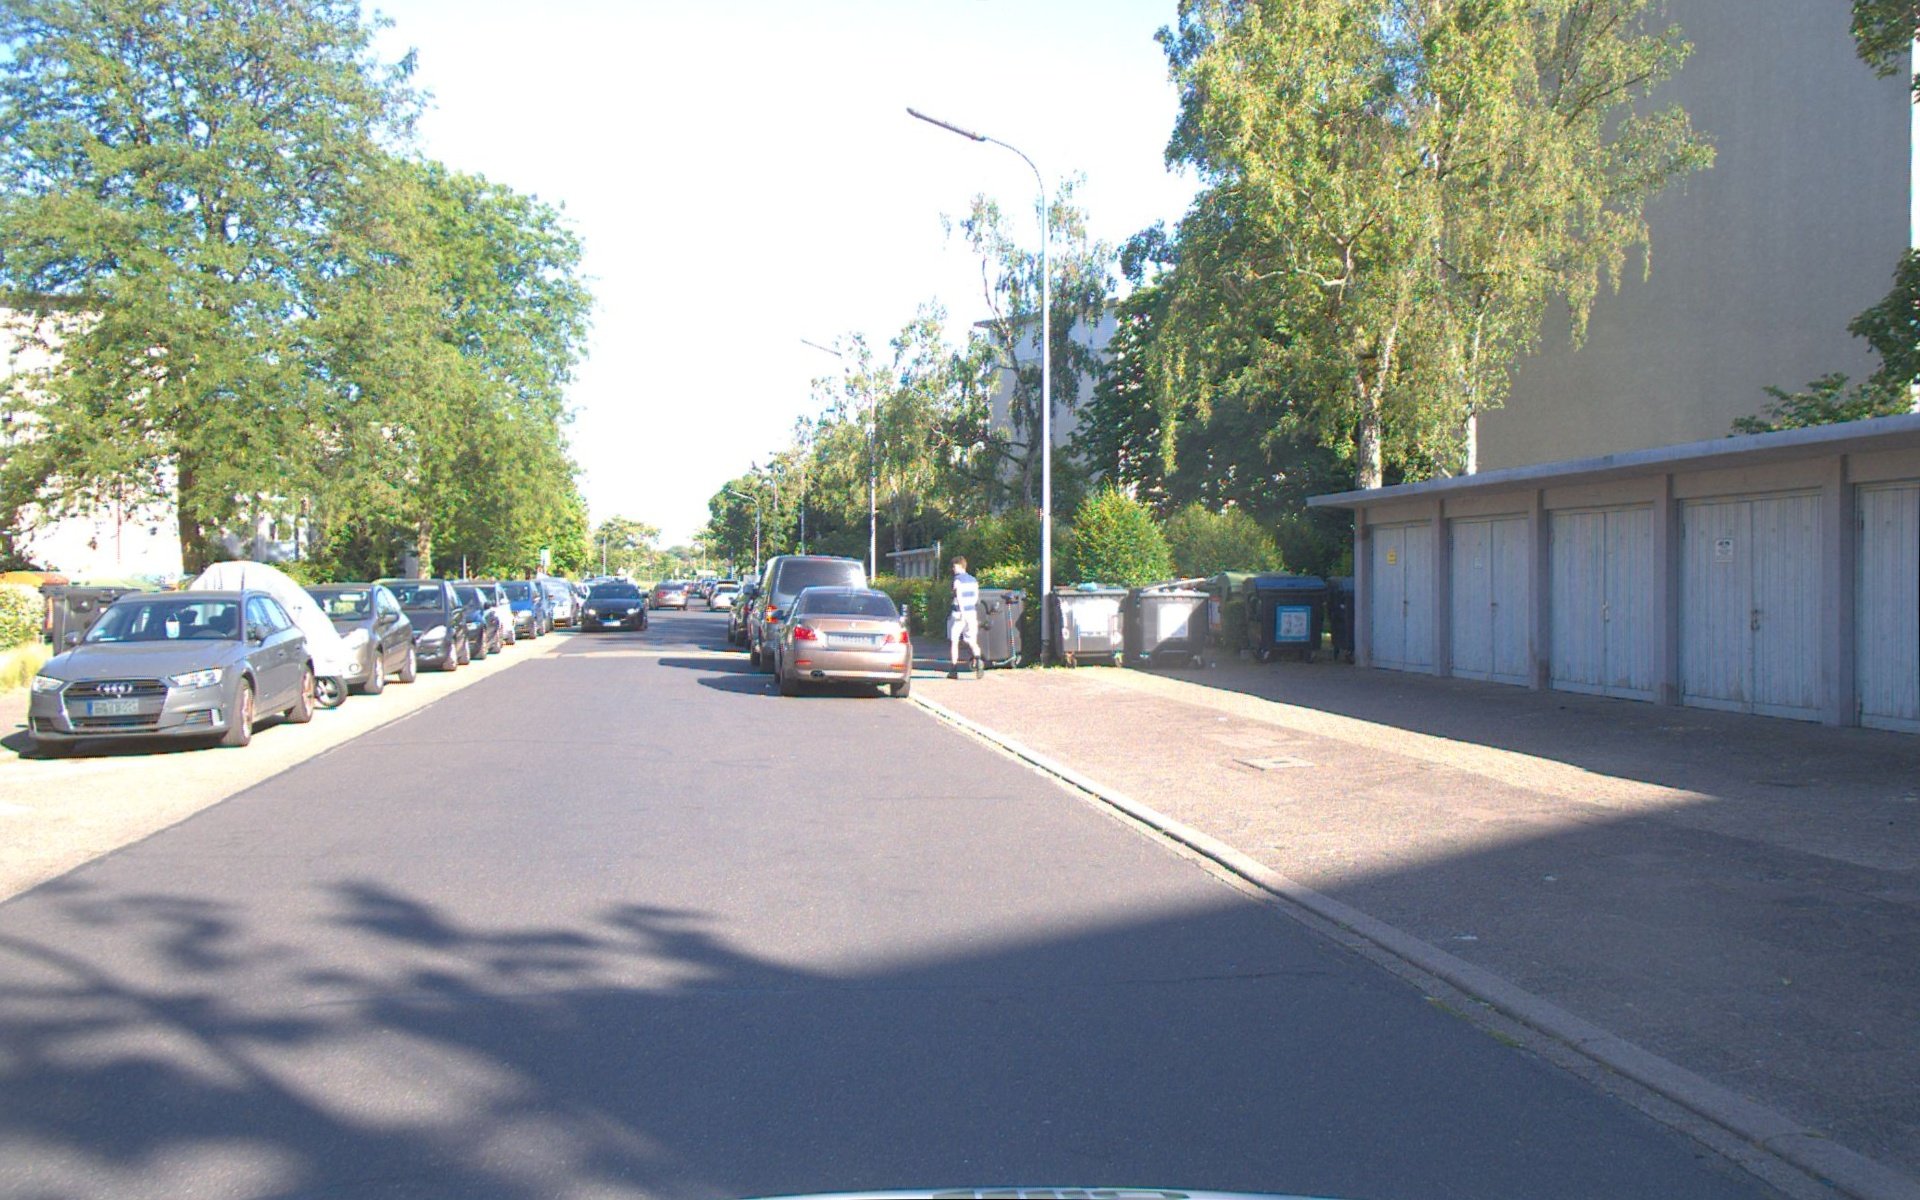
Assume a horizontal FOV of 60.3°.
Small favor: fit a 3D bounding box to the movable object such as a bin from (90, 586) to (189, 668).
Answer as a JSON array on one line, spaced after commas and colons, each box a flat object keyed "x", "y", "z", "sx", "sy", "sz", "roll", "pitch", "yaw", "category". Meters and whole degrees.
[{"x": -14.087, "y": 0.445, "z": 28.427, "sx": 1.155, "sy": 1.363, "sz": 1.341, "roll": 0, "pitch": 1, "yaw": -9, "category": "movable object such as a bin"}]

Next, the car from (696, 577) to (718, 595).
[{"x": -22.596, "y": -1.225, "z": 147.663, "sx": 1.764, "sy": 1.589, "sz": 3.940, "roll": 1, "pitch": 0, "yaw": -12, "category": "car"}]

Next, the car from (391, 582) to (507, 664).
[{"x": -10.496, "y": 0.414, "z": 34.256, "sx": 1.723, "sy": 1.506, "sz": 4.526, "roll": -3, "pitch": 1, "yaw": -11, "category": "car"}]

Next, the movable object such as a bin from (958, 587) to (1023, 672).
[{"x": 0.519, "y": 0.489, "z": 28.140, "sx": 1.005, "sy": 1.332, "sz": 1.387, "roll": -3, "pitch": 1, "yaw": 0, "category": "movable object such as a bin"}]

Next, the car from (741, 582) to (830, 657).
[{"x": -3.842, "y": 0.380, "z": 36.010, "sx": 1.593, "sy": 1.516, "sz": 4.026, "roll": 1, "pitch": 0, "yaw": -10, "category": "car"}]

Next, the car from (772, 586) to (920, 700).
[{"x": -1.732, "y": 0.542, "z": 23.694, "sx": 1.767, "sy": 1.443, "sz": 4.627, "roll": 1, "pitch": 1, "yaw": -8, "category": "car"}]

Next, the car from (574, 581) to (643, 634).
[{"x": -10.757, "y": 0.181, "z": 50.818, "sx": 1.876, "sy": 1.502, "sz": 4.560, "roll": -1, "pitch": 1, "yaw": -10, "category": "car"}]

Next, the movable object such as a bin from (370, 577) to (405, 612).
[{"x": -25.108, "y": -0.246, "z": 72.539, "sx": 1.155, "sy": 1.445, "sz": 1.460, "roll": 2, "pitch": 0, "yaw": -8, "category": "movable object such as a bin"}]

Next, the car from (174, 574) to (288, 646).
[{"x": -16.530, "y": 0.190, "z": 37.659, "sx": 1.542, "sy": 1.552, "sz": 3.989, "roll": 1, "pitch": 1, "yaw": -12, "category": "car"}]

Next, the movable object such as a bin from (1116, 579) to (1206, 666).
[{"x": 3.298, "y": 0.355, "z": 27.240, "sx": 1.252, "sy": 1.389, "sz": 1.131, "roll": 0, "pitch": 1, "yaw": -7, "category": "movable object such as a bin"}]

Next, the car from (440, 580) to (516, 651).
[{"x": -11.774, "y": 0.355, "z": 40.539, "sx": 1.419, "sy": 1.601, "sz": 3.134, "roll": -3, "pitch": 1, "yaw": -11, "category": "car"}]

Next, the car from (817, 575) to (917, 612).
[{"x": -4.237, "y": -0.293, "z": 74.780, "sx": 4.334, "sy": 1.540, "sz": 1.825, "roll": -1, "pitch": 1, "yaw": -10, "category": "car"}]

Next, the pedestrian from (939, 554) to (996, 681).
[{"x": 0.111, "y": 0.263, "z": 25.896, "sx": 0.690, "sy": 1.921, "sz": 0.871, "roll": -3, "pitch": 1, "yaw": -9, "category": "pedestrian"}]

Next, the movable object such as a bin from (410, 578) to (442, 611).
[{"x": -24.145, "y": -0.249, "z": 74.841, "sx": 1.113, "sy": 1.445, "sz": 1.358, "roll": 2, "pitch": 0, "yaw": -9, "category": "movable object such as a bin"}]

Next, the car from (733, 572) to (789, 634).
[{"x": -5.890, "y": 0.072, "z": 48.746, "sx": 1.462, "sy": 1.748, "sz": 2.577, "roll": 1, "pitch": 0, "yaw": -10, "category": "car"}]

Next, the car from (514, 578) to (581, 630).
[{"x": -14.062, "y": 0.091, "z": 56.590, "sx": 1.868, "sy": 1.668, "sz": 4.339, "roll": -1, "pitch": 1, "yaw": -10, "category": "car"}]

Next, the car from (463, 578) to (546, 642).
[{"x": -12.607, "y": 0.236, "z": 45.996, "sx": 1.722, "sy": 1.634, "sz": 3.960, "roll": -3, "pitch": 1, "yaw": -9, "category": "car"}]

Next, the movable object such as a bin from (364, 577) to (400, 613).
[{"x": -24.777, "y": -0.222, "z": 70.906, "sx": 1.155, "sy": 1.445, "sz": 1.460, "roll": 2, "pitch": 0, "yaw": -8, "category": "movable object such as a bin"}]

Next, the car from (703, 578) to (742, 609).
[{"x": -12.418, "y": -0.360, "z": 86.407, "sx": 1.722, "sy": 1.540, "sz": 4.092, "roll": 1, "pitch": 0, "yaw": -12, "category": "car"}]

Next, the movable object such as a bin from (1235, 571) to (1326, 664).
[{"x": 5.514, "y": 0.280, "z": 28.536, "sx": 1.252, "sy": 1.491, "sz": 1.132, "roll": 0, "pitch": 4, "yaw": -7, "category": "movable object such as a bin"}]

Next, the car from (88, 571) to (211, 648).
[{"x": -18.520, "y": 0.179, "z": 37.958, "sx": 1.542, "sy": 1.669, "sz": 3.989, "roll": 1, "pitch": 1, "yaw": -12, "category": "car"}]

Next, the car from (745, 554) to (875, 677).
[{"x": -2.727, "y": 0.232, "z": 29.157, "sx": 1.819, "sy": 1.968, "sz": 4.693, "roll": 1, "pitch": 0, "yaw": -10, "category": "car"}]

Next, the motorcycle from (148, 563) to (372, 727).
[{"x": -8.215, "y": 0.501, "z": 19.535, "sx": 2.217, "sy": 1.756, "sz": 0.929, "roll": -3, "pitch": 1, "yaw": -13, "category": "motorcycle"}]

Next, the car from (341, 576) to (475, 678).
[{"x": -9.688, "y": 0.422, "z": 29.264, "sx": 1.723, "sy": 1.601, "sz": 3.710, "roll": -3, "pitch": 1, "yaw": -11, "category": "car"}]

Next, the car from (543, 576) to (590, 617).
[{"x": -15.794, "y": -0.150, "z": 66.275, "sx": 1.636, "sy": 1.539, "sz": 3.523, "roll": -2, "pitch": 1, "yaw": -16, "category": "car"}]

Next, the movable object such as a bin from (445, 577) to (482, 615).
[{"x": -19.147, "y": -0.151, "z": 63.873, "sx": 1.115, "sy": 1.407, "sz": 1.439, "roll": 2, "pitch": 0, "yaw": -9, "category": "movable object such as a bin"}]

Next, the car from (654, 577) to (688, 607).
[{"x": -15.407, "y": -0.434, "z": 88.051, "sx": 1.650, "sy": 1.540, "sz": 4.092, "roll": 1, "pitch": 0, "yaw": -12, "category": "car"}]

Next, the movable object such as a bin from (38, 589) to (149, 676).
[{"x": -13.423, "y": 0.486, "z": 25.672, "sx": 1.156, "sy": 1.310, "sz": 1.340, "roll": 0, "pitch": 1, "yaw": -9, "category": "movable object such as a bin"}]

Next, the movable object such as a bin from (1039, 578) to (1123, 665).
[{"x": 1.987, "y": 0.339, "z": 27.400, "sx": 1.200, "sy": 1.389, "sz": 1.131, "roll": 0, "pitch": 1, "yaw": -7, "category": "movable object such as a bin"}]

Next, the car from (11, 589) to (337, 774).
[{"x": -7.472, "y": 0.673, "z": 16.194, "sx": 1.722, "sy": 1.445, "sz": 4.259, "roll": -3, "pitch": 1, "yaw": -10, "category": "car"}]

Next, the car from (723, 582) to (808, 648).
[{"x": -4.944, "y": 0.323, "z": 41.588, "sx": 1.701, "sy": 1.516, "sz": 4.488, "roll": -1, "pitch": 1, "yaw": -12, "category": "car"}]

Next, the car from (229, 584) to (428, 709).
[{"x": -8.760, "y": 0.573, "z": 23.278, "sx": 1.722, "sy": 1.506, "sz": 3.952, "roll": -3, "pitch": 1, "yaw": -8, "category": "car"}]

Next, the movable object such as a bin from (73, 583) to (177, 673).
[{"x": -13.616, "y": 0.438, "z": 27.024, "sx": 1.156, "sy": 1.432, "sz": 1.340, "roll": 0, "pitch": 1, "yaw": -9, "category": "movable object such as a bin"}]

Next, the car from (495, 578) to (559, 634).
[{"x": -13.299, "y": 0.148, "z": 50.910, "sx": 1.606, "sy": 1.634, "sz": 3.526, "roll": -1, "pitch": 1, "yaw": -11, "category": "car"}]

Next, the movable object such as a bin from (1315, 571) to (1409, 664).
[{"x": 6.902, "y": 0.283, "z": 28.449, "sx": 1.252, "sy": 1.491, "sz": 1.132, "roll": 0, "pitch": 4, "yaw": -7, "category": "movable object such as a bin"}]
